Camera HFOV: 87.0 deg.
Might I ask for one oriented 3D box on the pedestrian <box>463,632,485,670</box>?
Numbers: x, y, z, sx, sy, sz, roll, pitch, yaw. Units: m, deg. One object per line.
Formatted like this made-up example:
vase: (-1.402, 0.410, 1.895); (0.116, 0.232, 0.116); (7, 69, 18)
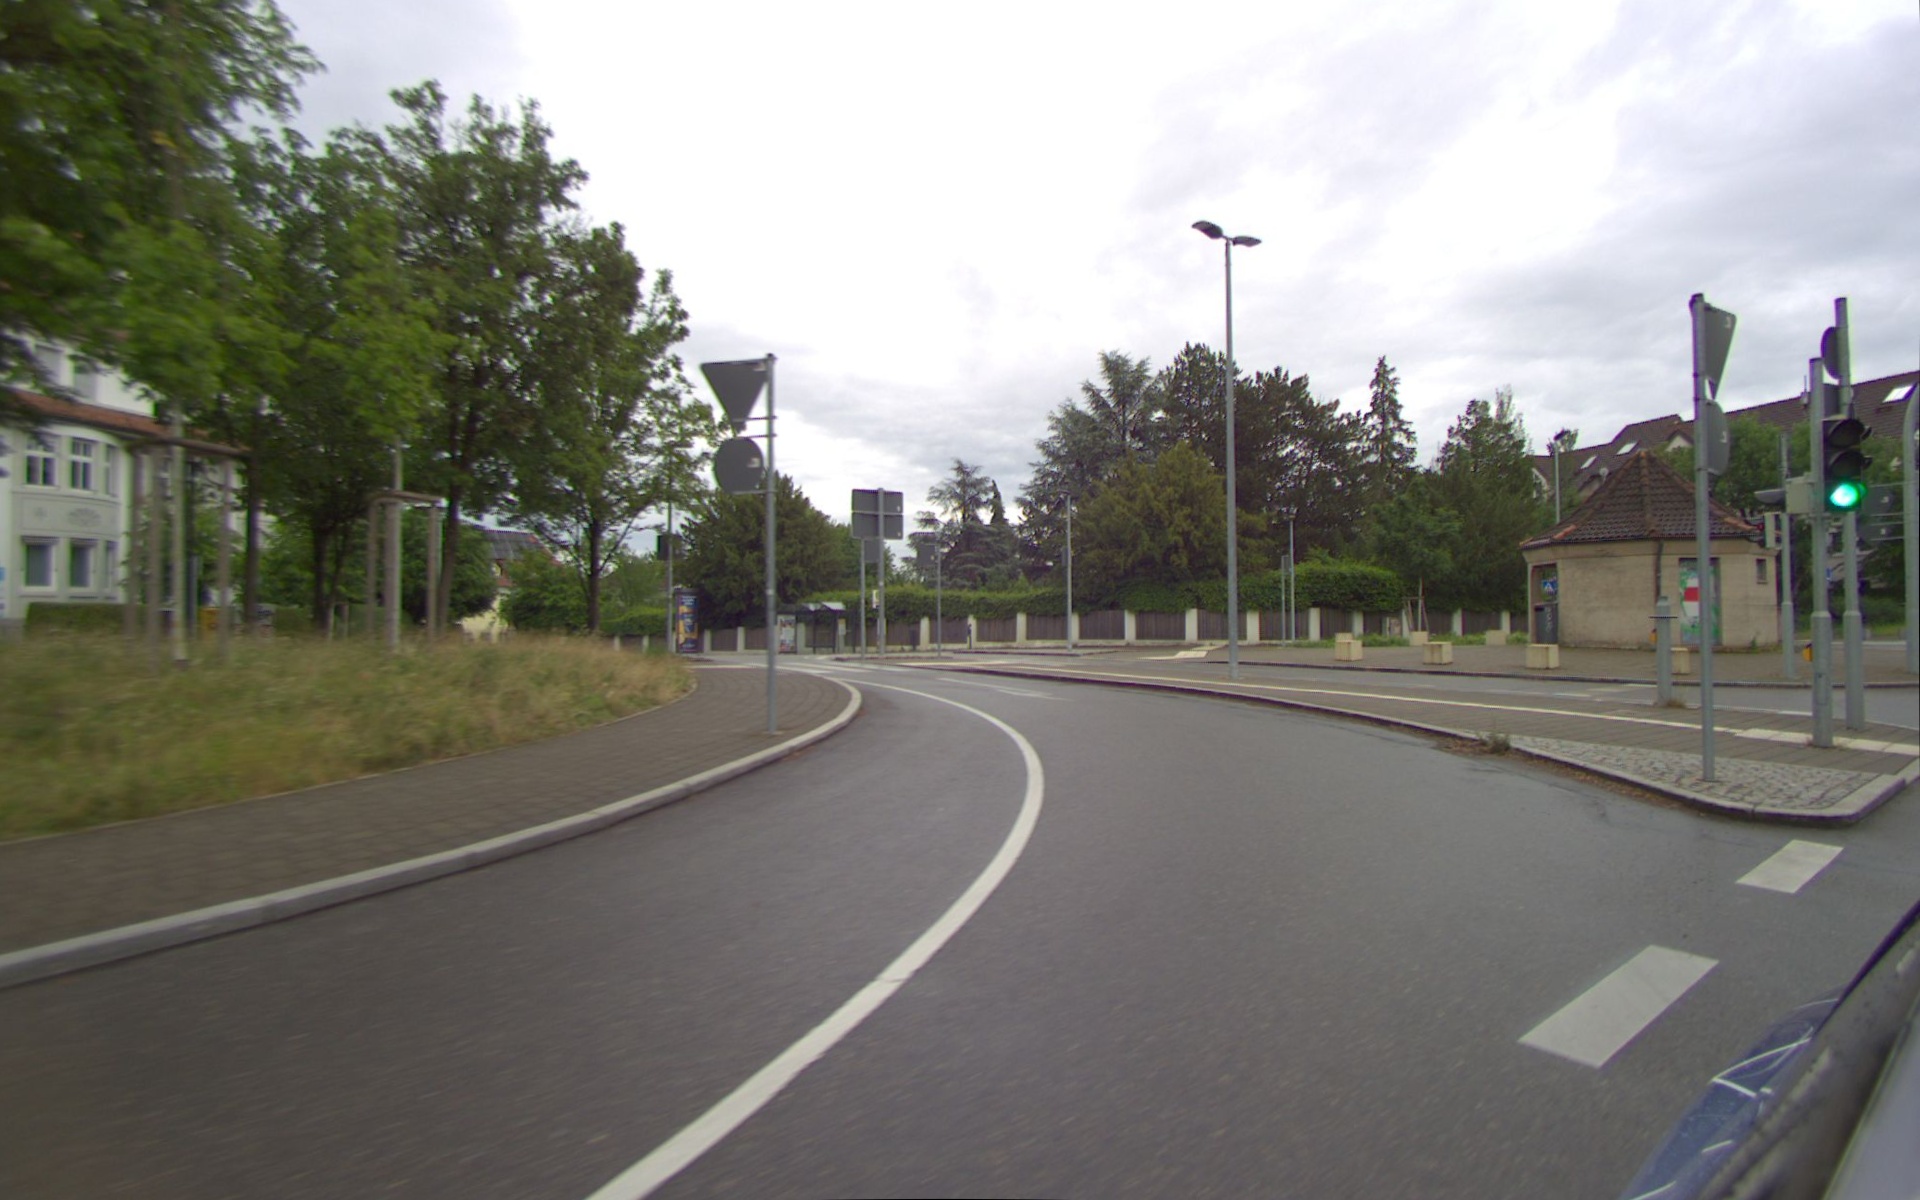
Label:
pedestrian: (-24.648, 2.571, 51.342); (0.692, 1.861, 0.809); (-5, -4, 43)

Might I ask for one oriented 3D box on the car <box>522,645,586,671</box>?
car: (-26.544, 3.773, 66.167); (3.971, 1.499, 1.976); (-4, -2, 34)

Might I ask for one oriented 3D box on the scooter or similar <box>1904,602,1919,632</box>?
scooter or similar: (39.156, 0.660, 40.846); (0.514, 1.223, 1.354); (-1, -4, -25)
